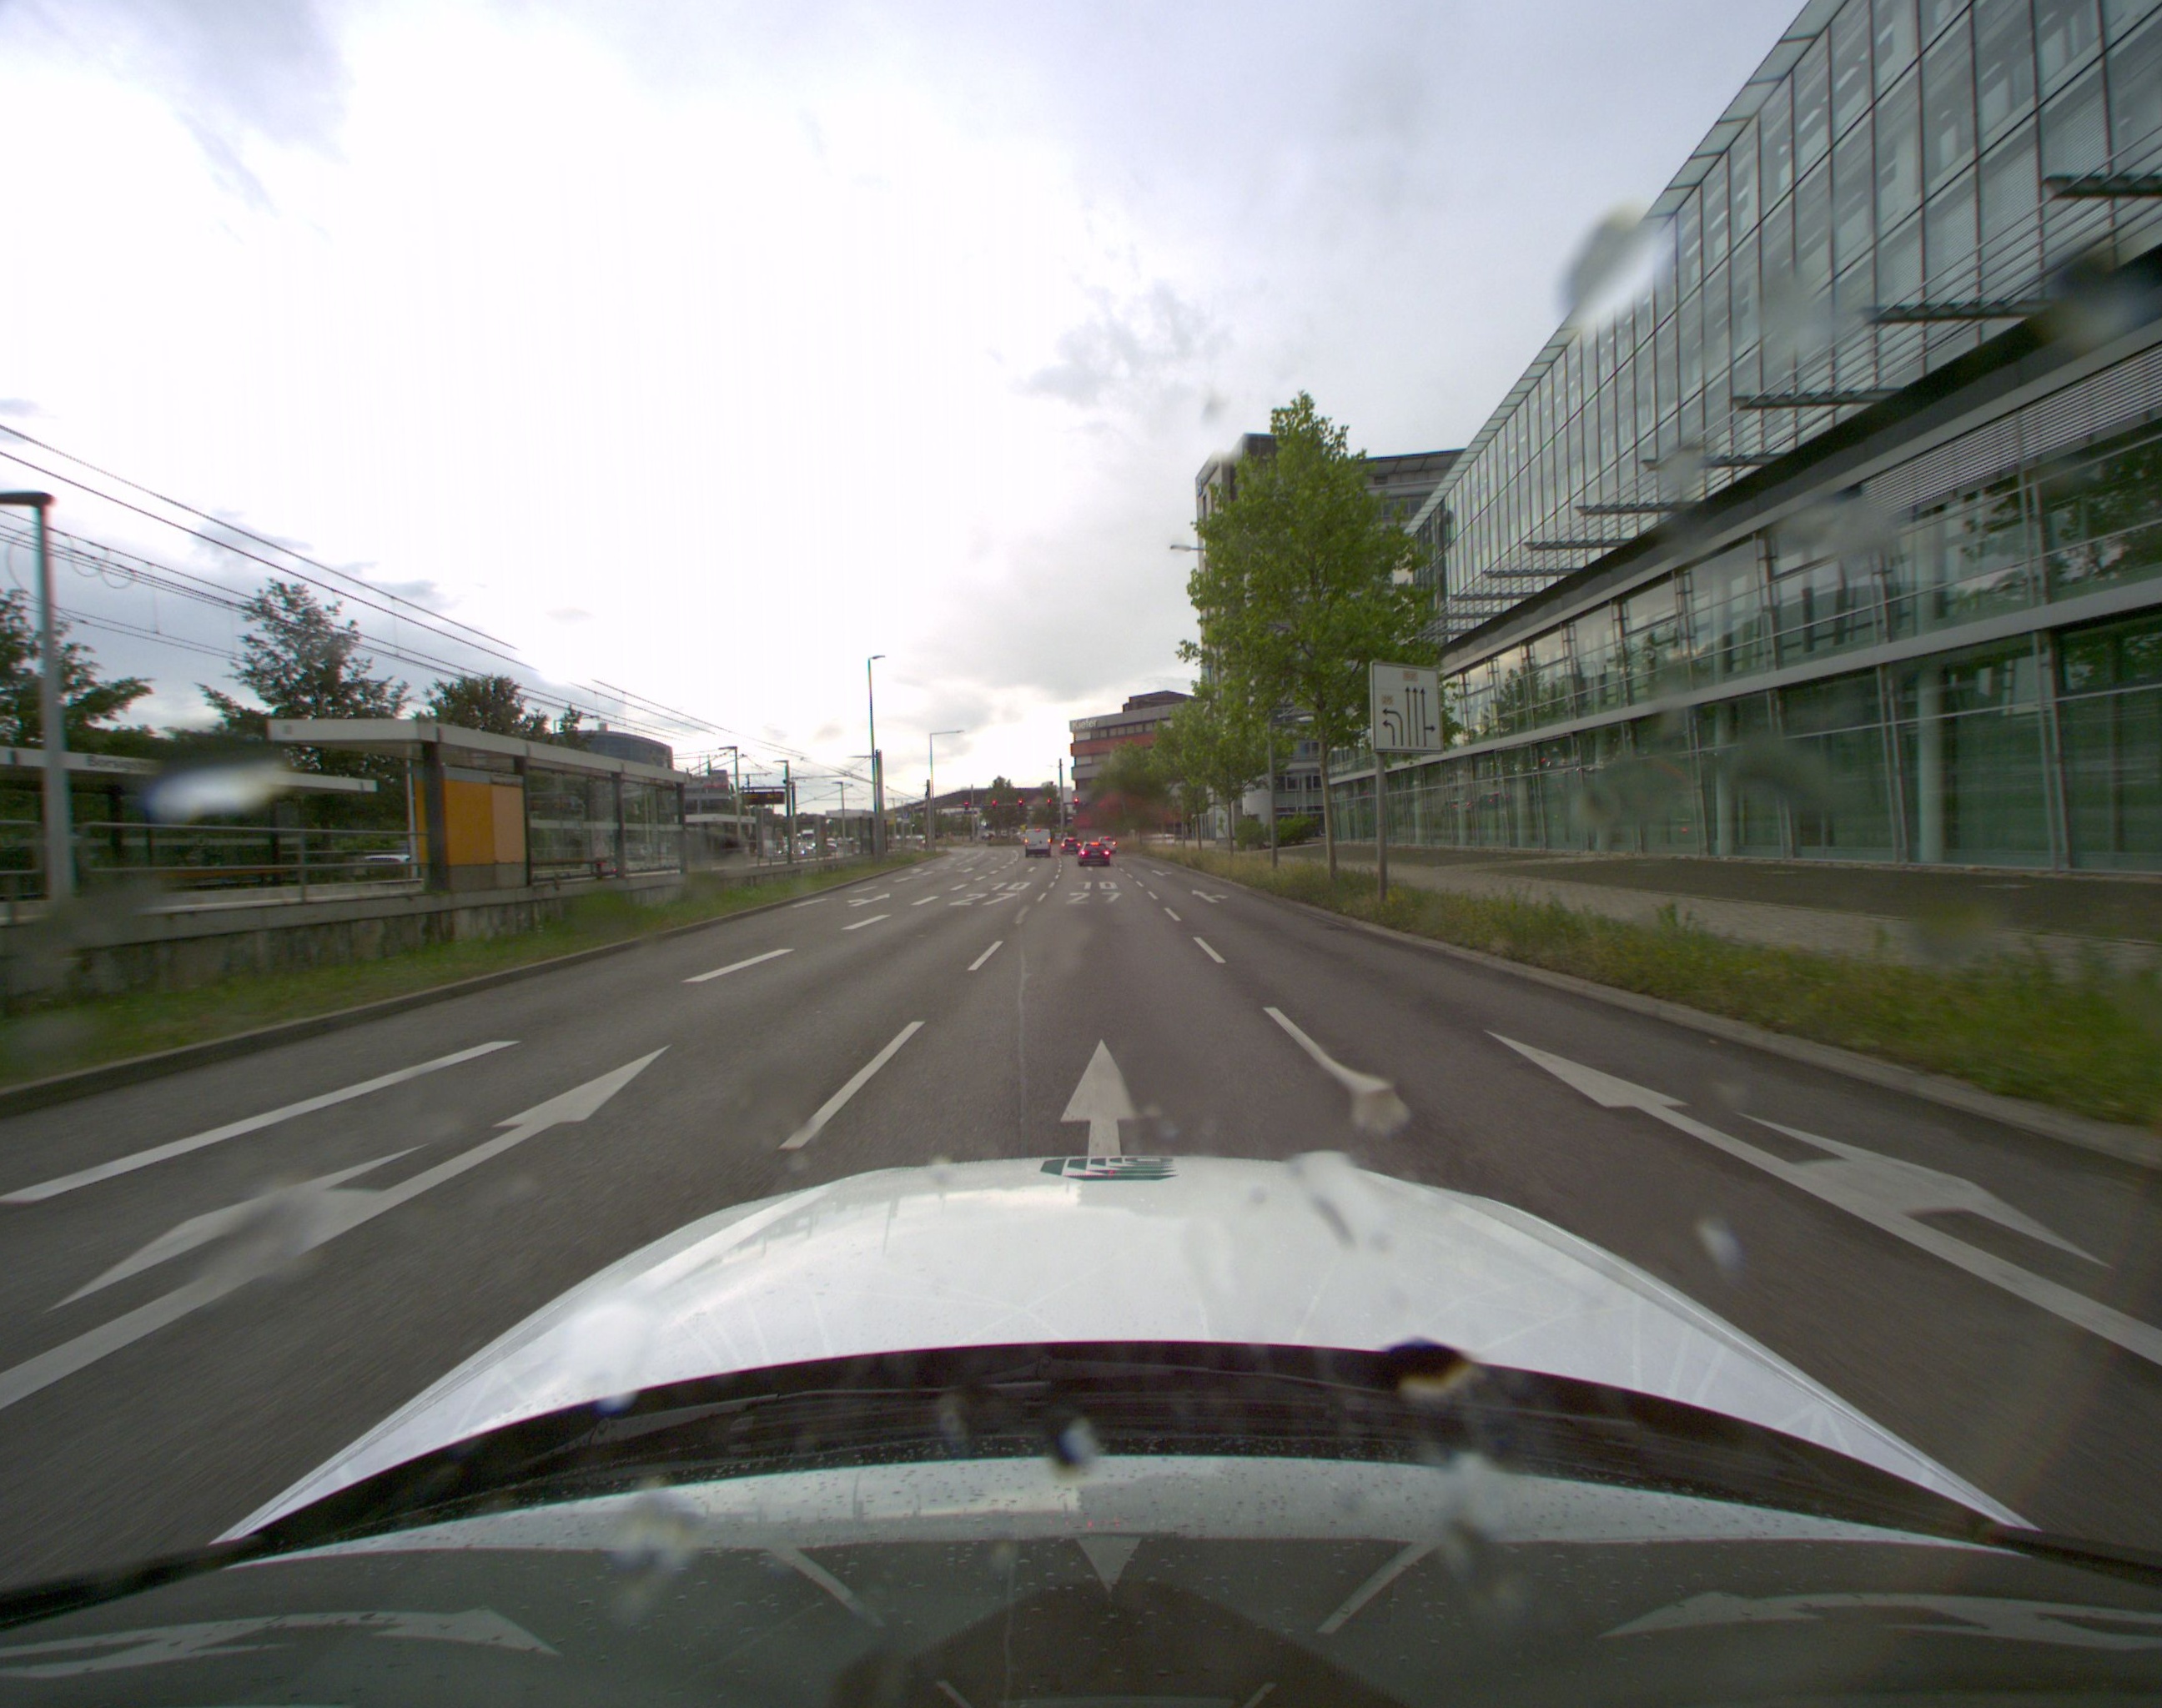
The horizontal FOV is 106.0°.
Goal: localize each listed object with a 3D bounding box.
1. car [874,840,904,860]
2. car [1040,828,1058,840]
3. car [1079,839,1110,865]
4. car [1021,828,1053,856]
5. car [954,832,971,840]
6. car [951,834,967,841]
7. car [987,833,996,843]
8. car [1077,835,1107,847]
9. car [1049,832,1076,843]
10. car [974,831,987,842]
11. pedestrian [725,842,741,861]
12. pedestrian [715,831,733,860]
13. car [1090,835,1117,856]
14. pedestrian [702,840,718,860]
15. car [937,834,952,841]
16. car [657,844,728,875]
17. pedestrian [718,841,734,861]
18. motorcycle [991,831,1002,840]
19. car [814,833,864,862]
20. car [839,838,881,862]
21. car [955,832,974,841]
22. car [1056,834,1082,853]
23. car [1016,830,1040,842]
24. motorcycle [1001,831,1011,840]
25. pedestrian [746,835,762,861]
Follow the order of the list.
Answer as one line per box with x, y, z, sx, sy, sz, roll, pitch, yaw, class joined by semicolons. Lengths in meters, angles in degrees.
-17.272;-0.347;73.312;1.990;1.675;3.842;2;0;-4;car
-6.345;-3.891;160.641;2.005;2.014;3.962;0;-3;-29;car
0.838;-0.148;48.589;1.757;1.463;4.630;0;1;2;car
-3.589;-0.987;66.691;2.505;2.177;5.145;-1;0;-2;car
-30.603;-4.669;210.165;4.001;2.014;1.986;0;-2;-21;car
-33.818;-4.553;226.373;4.001;2.014;1.986;0;-2;-21;car
-19.814;-3.625;180.840;1.817;2.014;3.459;-1;-2;-9;car
1.662;-1.969;123.507;2.039;1.623;4.272;-1;0;-44;car
-2.917;-2.609;128.592;2.039;1.623;3.951;-1;0;-45;car
-20.274;-3.530;164.344;1.997;2.014;3.979;-1;-2;-15;car
-23.083;-0.147;54.022;0.726;1.253;0.730;-1;-1;-6;pedestrian
-22.088;-0.515;50.367;0.727;1.715;0.830;-1;-1;-3;pedestrian
2.006;-0.785;73.026;2.017;1.769;3.995;-1;1;-4;car
-23.151;-0.228;50.859;0.726;1.253;0.730;-1;-1;-6;pedestrian
-40.571;-4.881;241.573;4.001;2.014;1.986;0;-2;-21;car
-18.003;0.228;37.913;1.855;1.336;3.330;-1;1;-4;car
-23.146;-0.183;53.105;0.726;1.253;0.730;-1;-1;-6;pedestrian
-21.161;-4.625;203.714;1.997;2.014;3.980;0;-2;-14;motorcycle
-13.993;-0.415;47.300;1.990;1.452;3.843;-1;3;-4;car
-14.683;-0.229;54.355;1.990;1.453;3.841;-1;-1;-4;car
-27.193;-4.021;189.635;4.001;2.014;1.986;0;-2;-21;car
-1.085;-0.903;72.920;2.018;1.623;3.992;-1;0;-5;car
-8.926;-2.995;137.288;2.011;2.014;3.951;1;-1;-45;car
-18.845;-4.657;204.469;1.997;2.014;3.980;0;-2;-14;motorcycle
-22.250;-0.384;55.438;0.751;1.751;0.763;-1;-3;-4;pedestrian
